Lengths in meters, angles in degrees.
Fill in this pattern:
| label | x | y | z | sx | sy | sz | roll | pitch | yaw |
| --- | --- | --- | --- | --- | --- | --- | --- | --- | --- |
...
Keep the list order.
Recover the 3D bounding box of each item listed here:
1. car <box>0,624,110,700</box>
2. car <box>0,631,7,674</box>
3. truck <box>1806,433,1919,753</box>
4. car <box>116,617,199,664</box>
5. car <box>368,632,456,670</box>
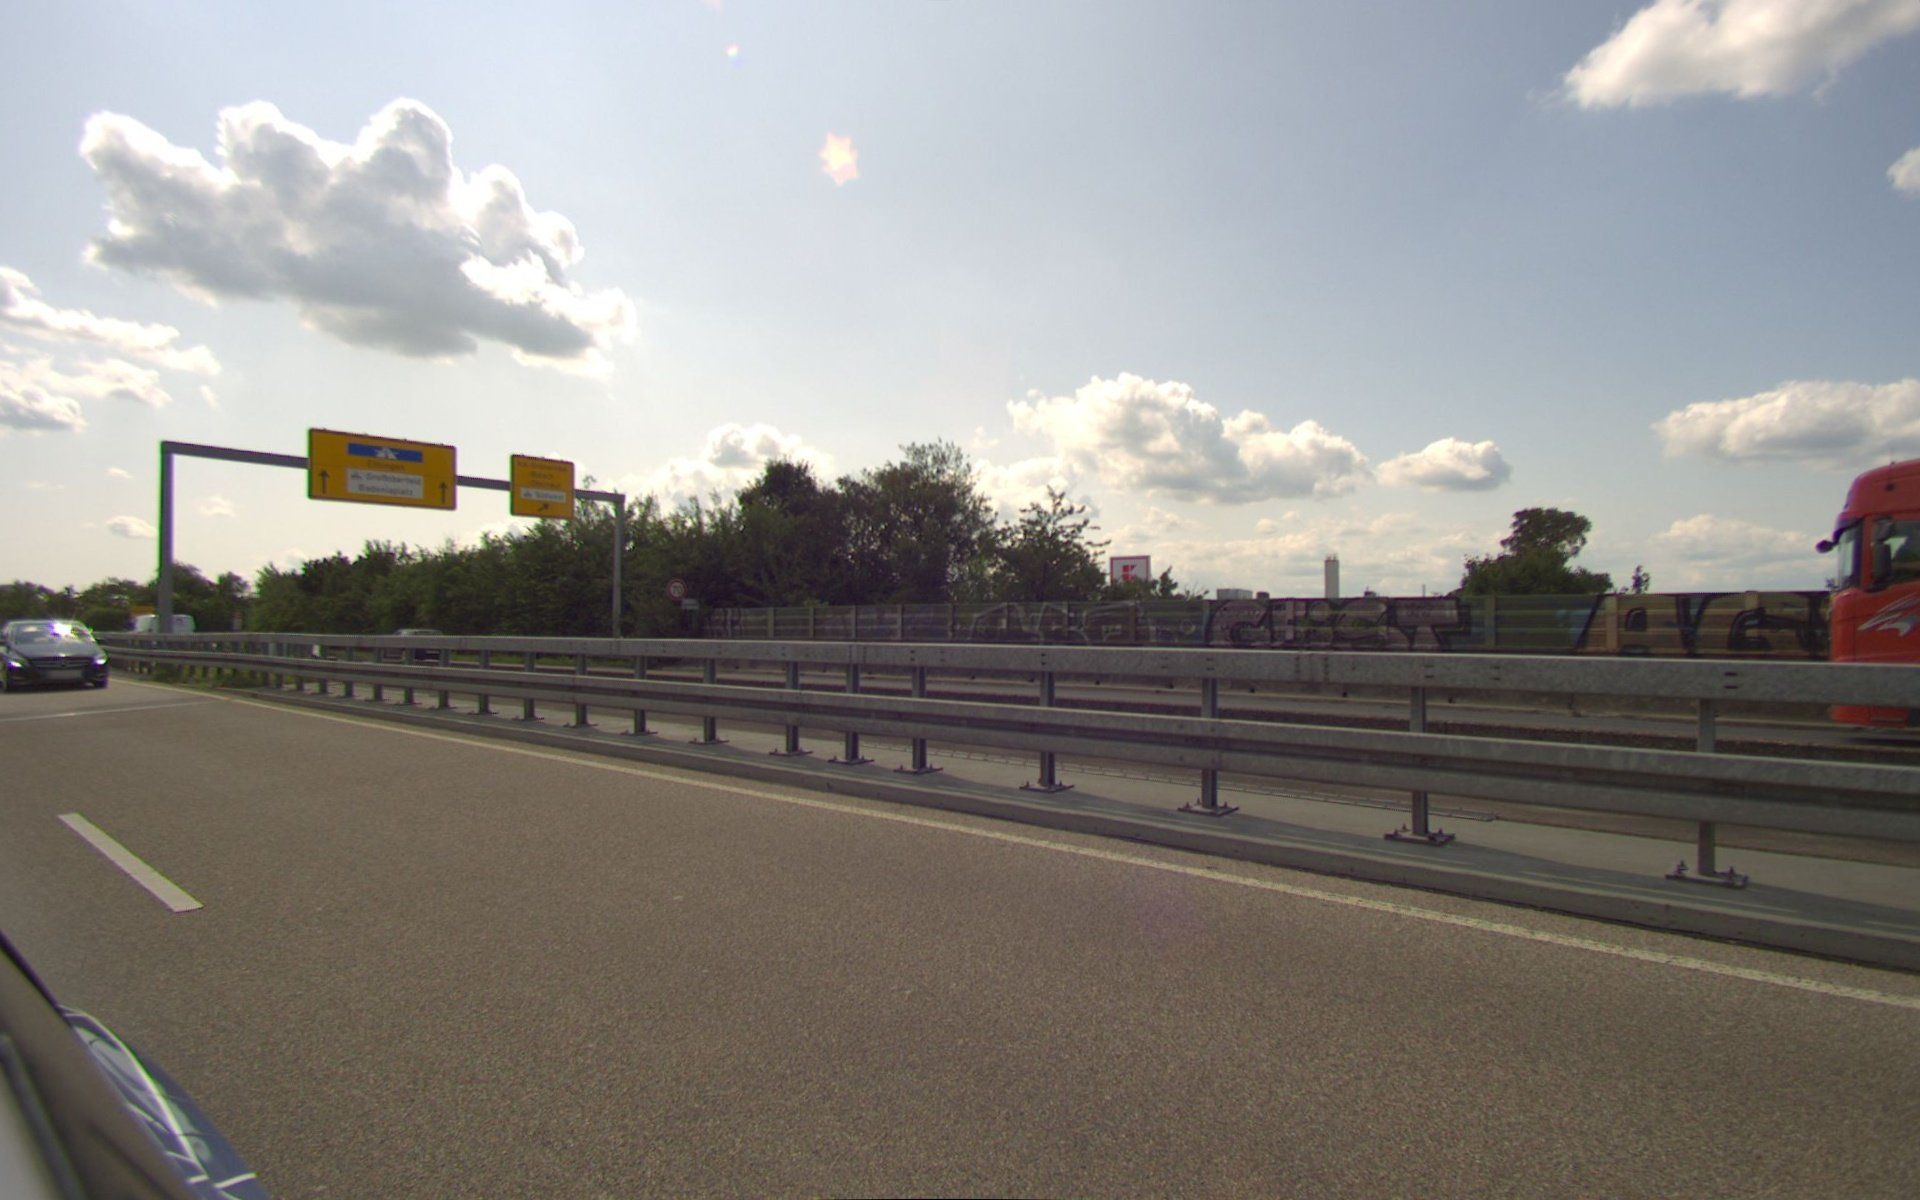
| label | x | y | z | sx | sy | sz | roll | pitch | yaw |
| --- | --- | --- | --- | --- | --- | --- | --- | --- | --- |
| car | -21.014 | 1.342 | 23.217 | 4.591 | 1.539 | 1.693 | -1 | 0 | 42 |
| car | -34.380 | 1.812 | 35.102 | 3.770 | 1.422 | 1.604 | -1 | 0 | 42 |
| truck | 13.935 | -0.118 | 11.723 | 6.226 | 3.811 | 2.622 | -1 | 0 | 39 |
| car | -37.995 | 1.881 | 47.875 | 5.226 | 2.004 | 2.058 | 0 | -3 | 41 |
| car | -23.177 | 2.111 | 42.749 | 4.397 | 1.442 | 1.672 | -1 | 0 | 39 |
